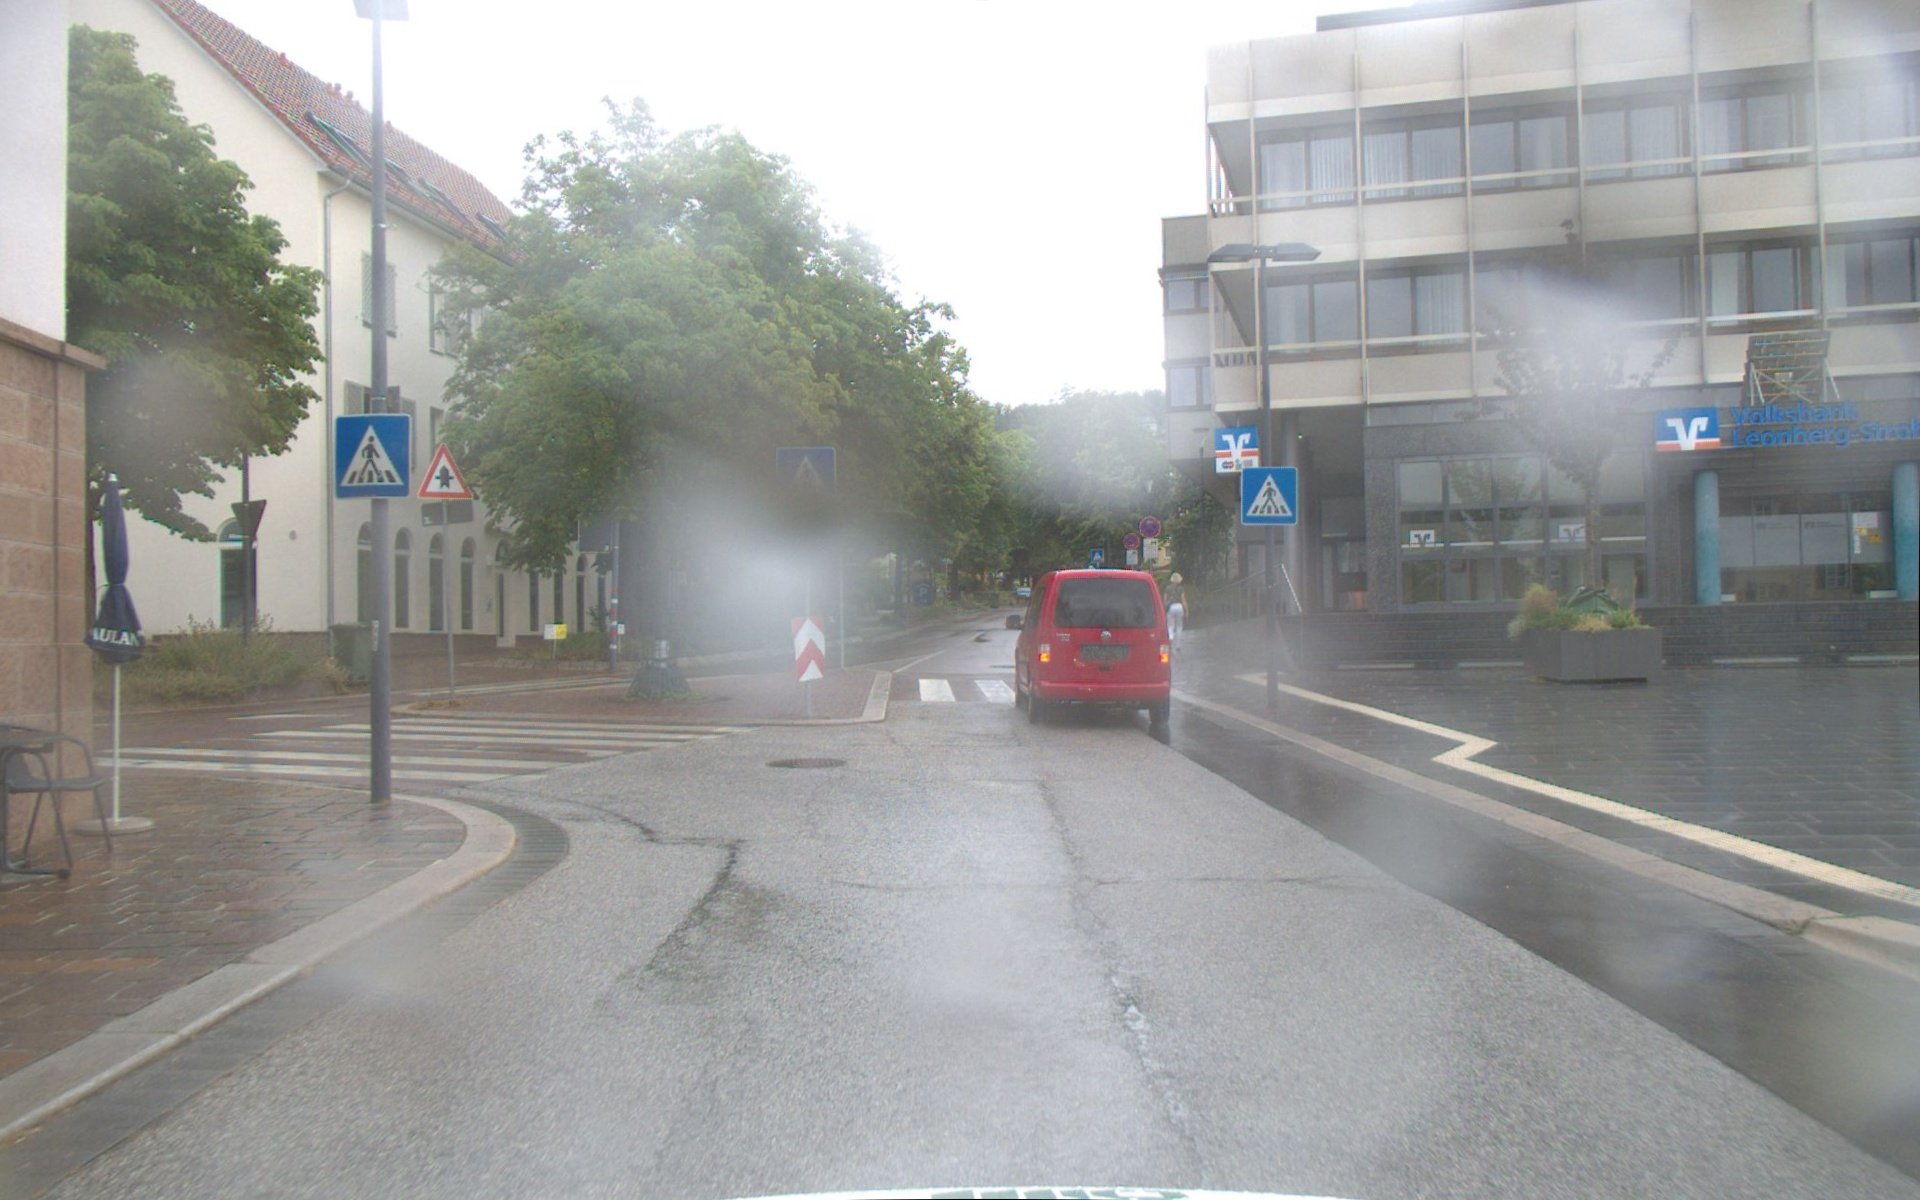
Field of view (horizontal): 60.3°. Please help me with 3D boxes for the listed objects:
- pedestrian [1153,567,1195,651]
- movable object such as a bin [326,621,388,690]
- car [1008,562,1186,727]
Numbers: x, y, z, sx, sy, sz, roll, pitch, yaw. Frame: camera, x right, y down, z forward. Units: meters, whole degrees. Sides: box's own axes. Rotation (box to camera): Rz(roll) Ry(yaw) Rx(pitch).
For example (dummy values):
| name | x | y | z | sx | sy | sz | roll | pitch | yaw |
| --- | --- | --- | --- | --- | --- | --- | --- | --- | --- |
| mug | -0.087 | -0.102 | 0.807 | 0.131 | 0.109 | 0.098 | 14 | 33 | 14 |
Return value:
| name | x | y | z | sx | sy | sz | roll | pitch | yaw |
| --- | --- | --- | --- | --- | --- | --- | --- | --- | --- |
| pedestrian | 4.848 | 0.200 | 37.413 | 0.817 | 1.862 | 0.816 | 1 | 0 | 17 |
| movable object such as a bin | -10.296 | 0.942 | 28.239 | 0.721 | 1.144 | 0.650 | -2 | -1 | 14 |
| car | 1.646 | 0.538 | 21.277 | 1.824 | 1.863 | 4.184 | -1 | -1 | -1 |
